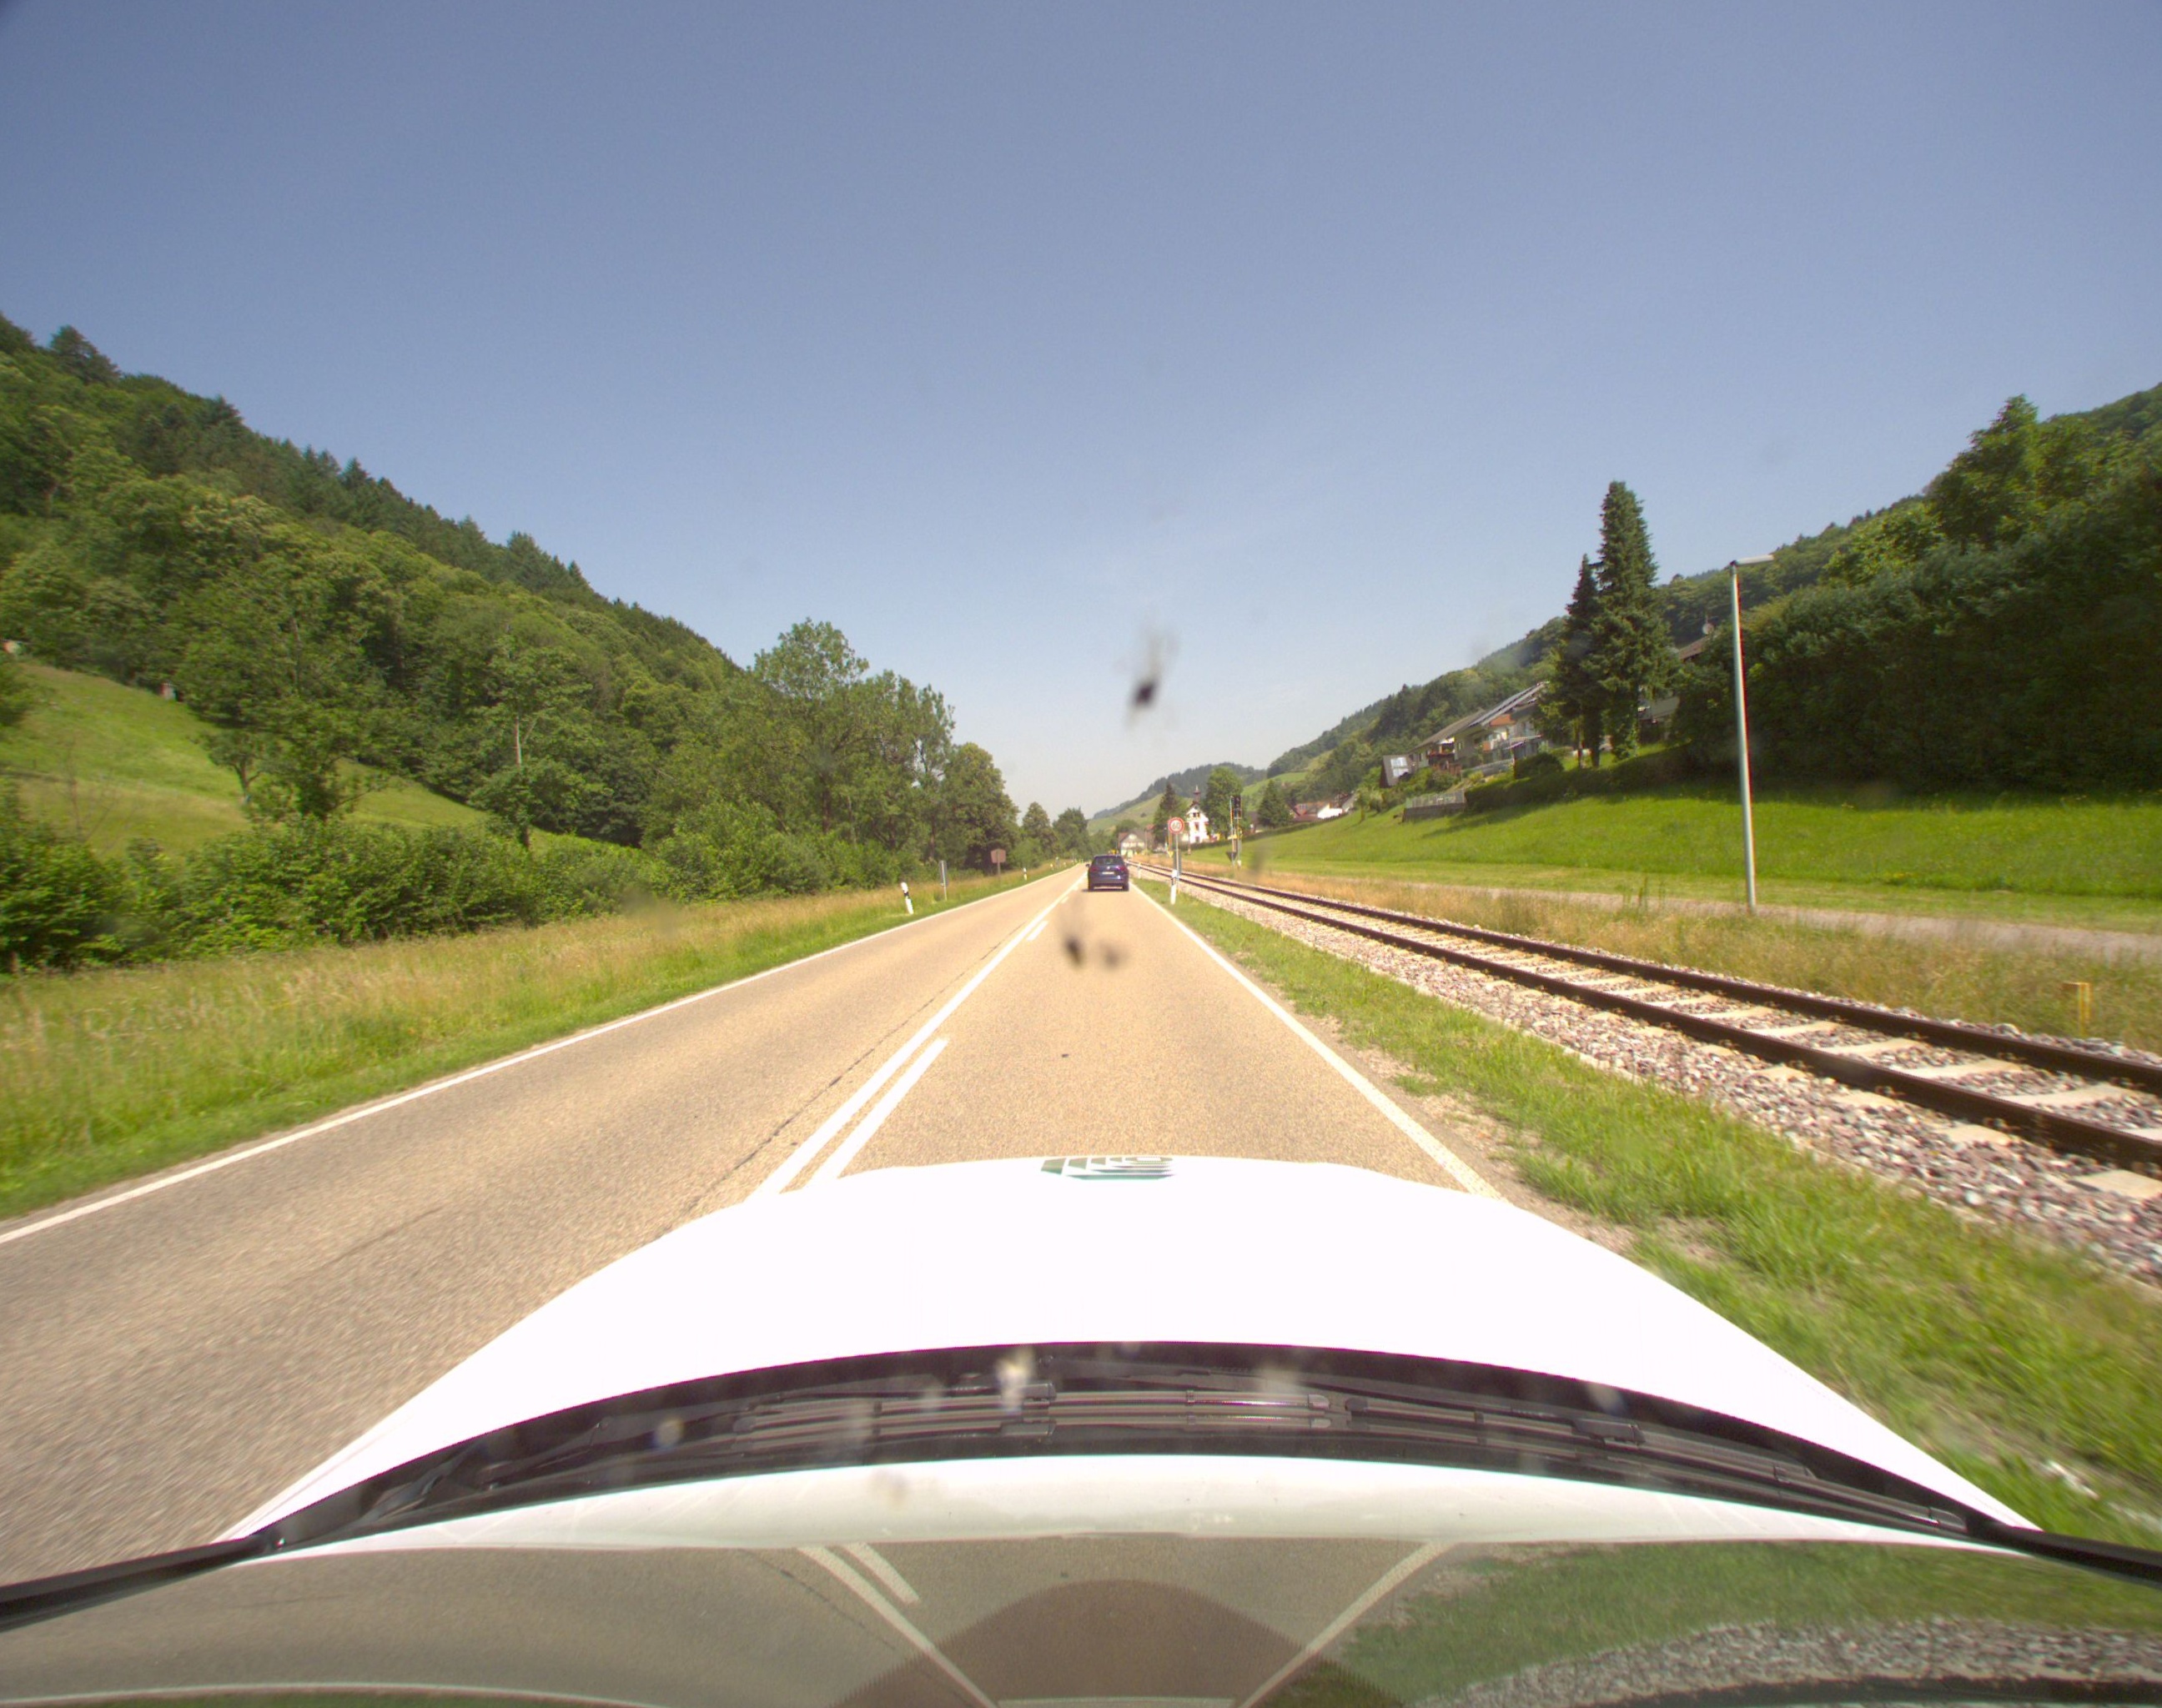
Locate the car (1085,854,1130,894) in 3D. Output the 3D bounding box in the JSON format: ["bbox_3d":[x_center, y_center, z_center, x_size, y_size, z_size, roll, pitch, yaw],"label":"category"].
[{"bbox_3d":[1.199,0.846,36.739,1.846,1.649,4.141,-1,0,2],"label":"car"}]
